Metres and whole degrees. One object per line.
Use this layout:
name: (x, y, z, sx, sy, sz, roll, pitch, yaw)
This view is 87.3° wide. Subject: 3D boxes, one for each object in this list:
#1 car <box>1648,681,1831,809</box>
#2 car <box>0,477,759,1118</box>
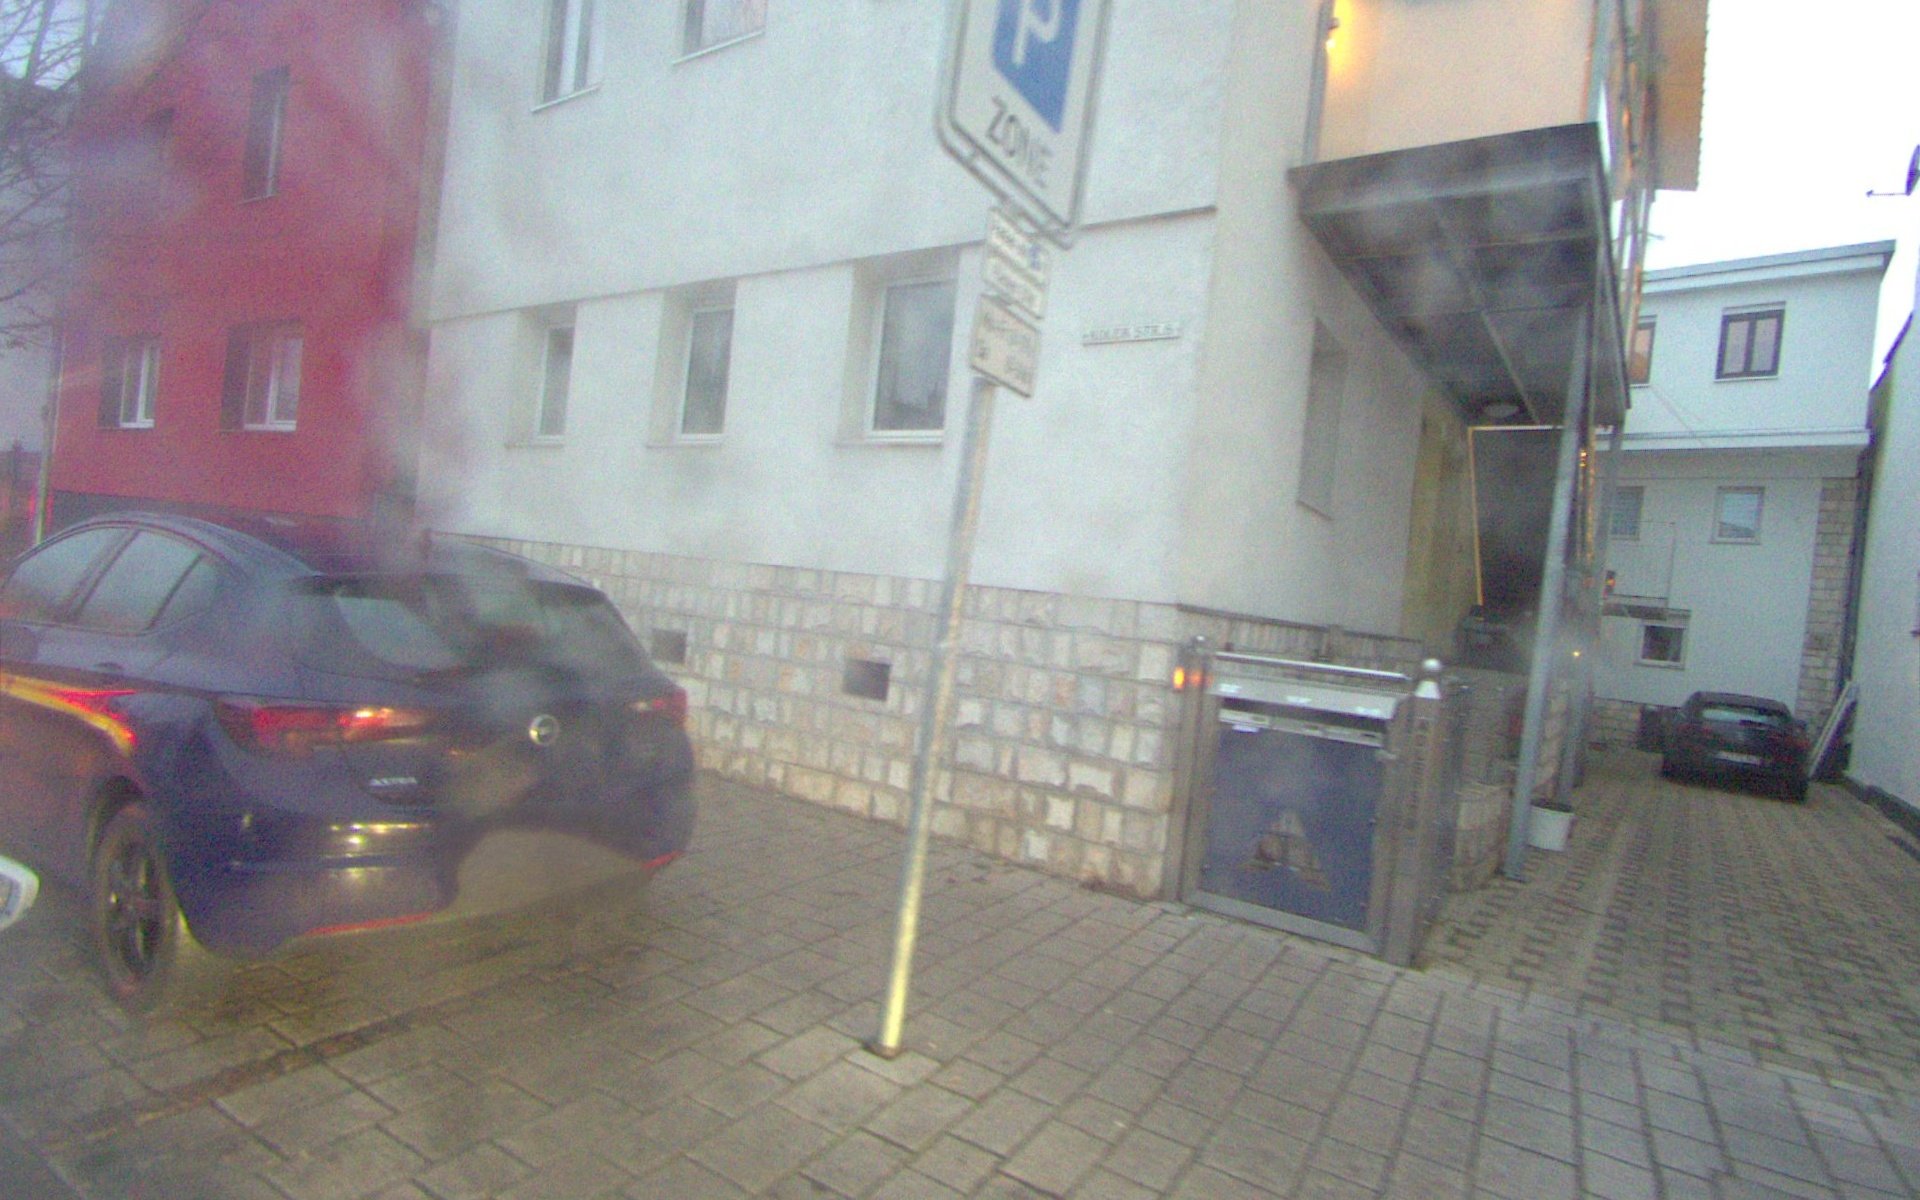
car: (12.527, 2.231, 16.427, 1.906, 1.434, 3.949, 9, 2, 34)
car: (-3.007, 0.344, 4.304, 4.131, 1.484, 1.727, 7, 3, 34)
